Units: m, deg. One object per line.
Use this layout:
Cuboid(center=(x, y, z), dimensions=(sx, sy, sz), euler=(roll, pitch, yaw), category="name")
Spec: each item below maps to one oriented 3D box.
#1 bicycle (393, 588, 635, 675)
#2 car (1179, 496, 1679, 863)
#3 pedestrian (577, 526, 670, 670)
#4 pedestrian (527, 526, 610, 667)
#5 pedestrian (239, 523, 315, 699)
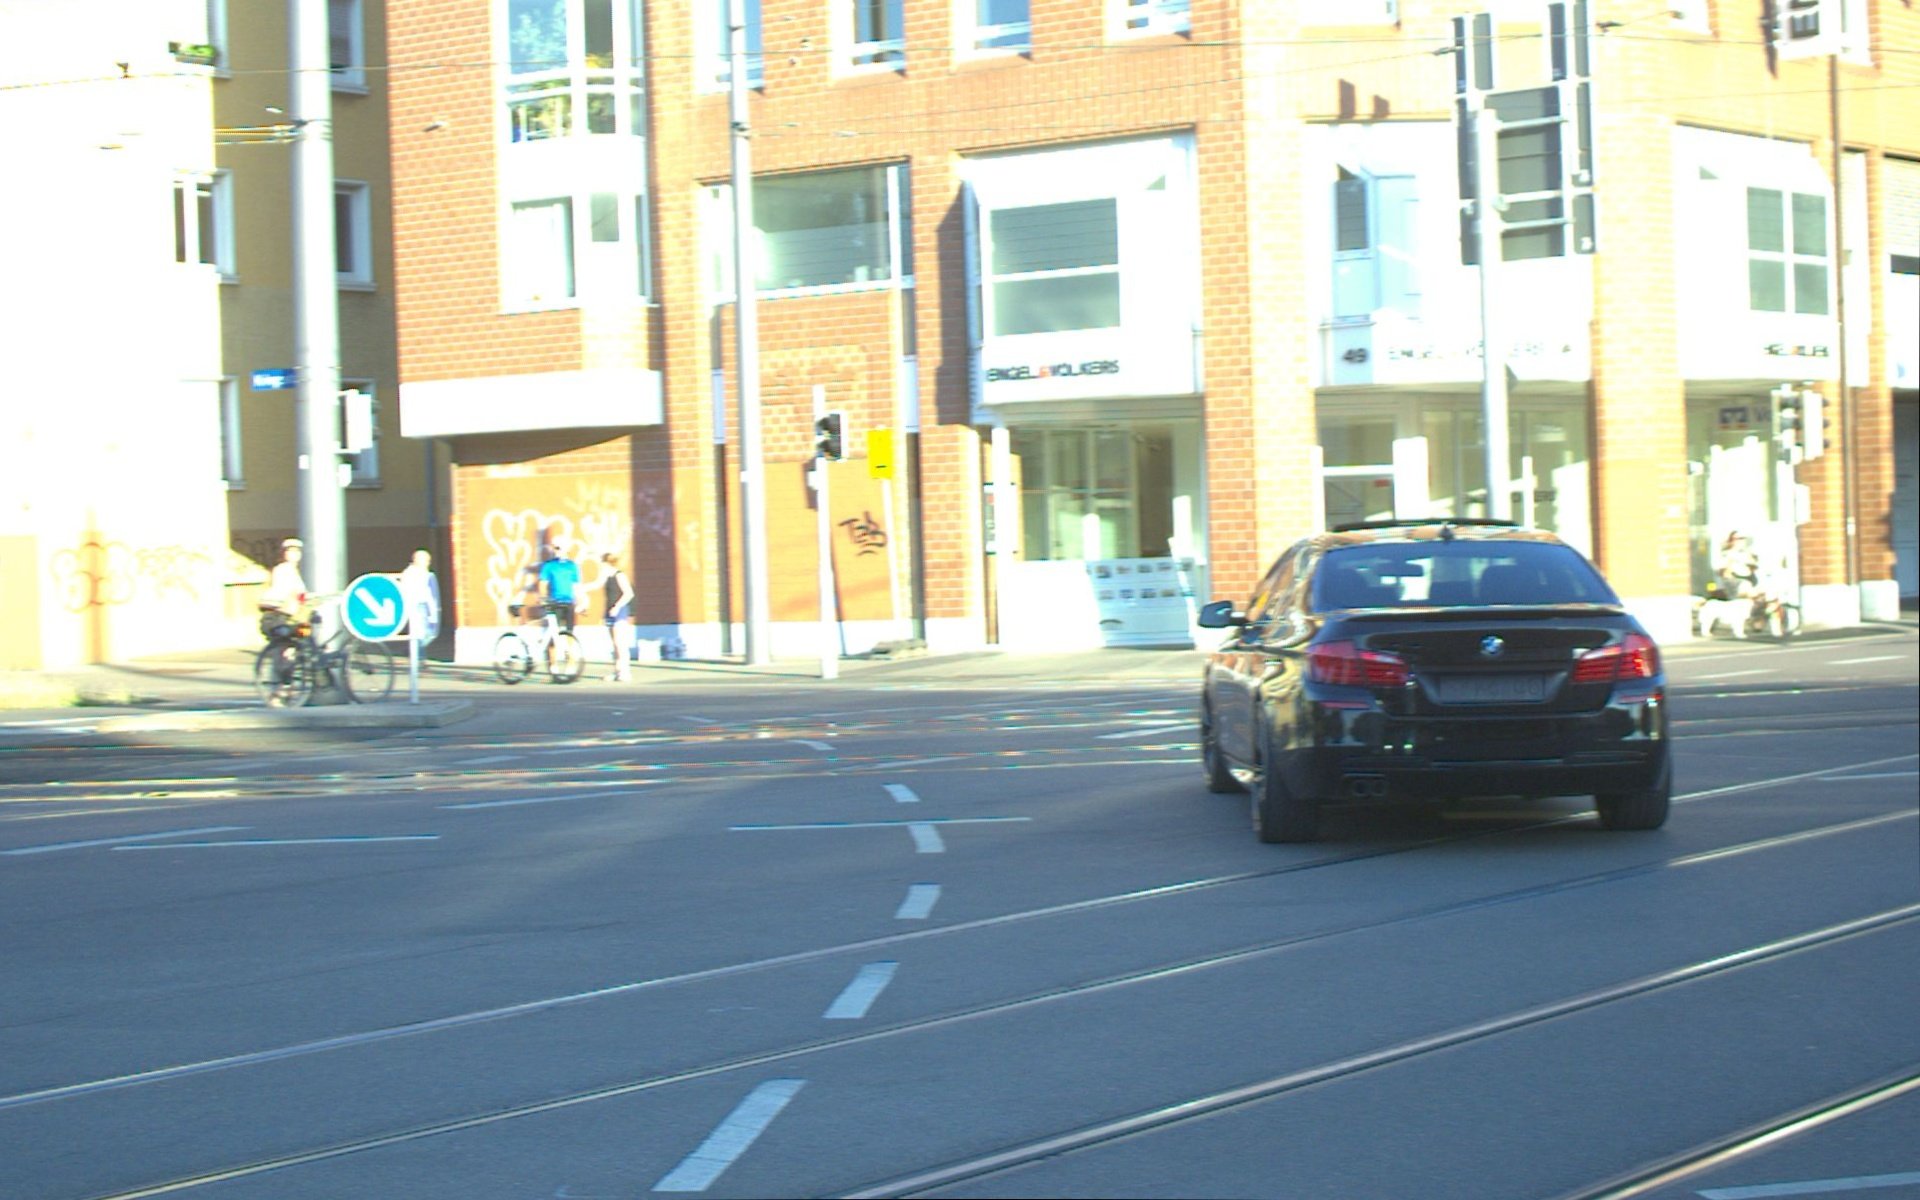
Cuboid(center=(-5.657, 0.398, 43.505), dimensions=(3.059, 1.014, 0.930), euler=(-1, 1, 29), category="bicycle")
Cuboid(center=(2.162, 0.285, 16.990), dimensions=(1.841, 1.490, 4.292), euler=(-3, 2, 1), category="car")
Cuboid(center=(-4.287, -0.027, 43.838), dimensions=(0.871, 1.787, 0.709), euler=(-1, 1, 28), category="pedestrian")
Cuboid(center=(-5.022, -0.053, 44.146), dimensions=(0.638, 1.772, 0.814), euler=(-1, 1, 30), category="pedestrian")
Cuboid(center=(-6.676, 0.108, 33.613), dimensions=(0.515, 1.702, 0.418), euler=(-1, 1, 36), category="pedestrian")
